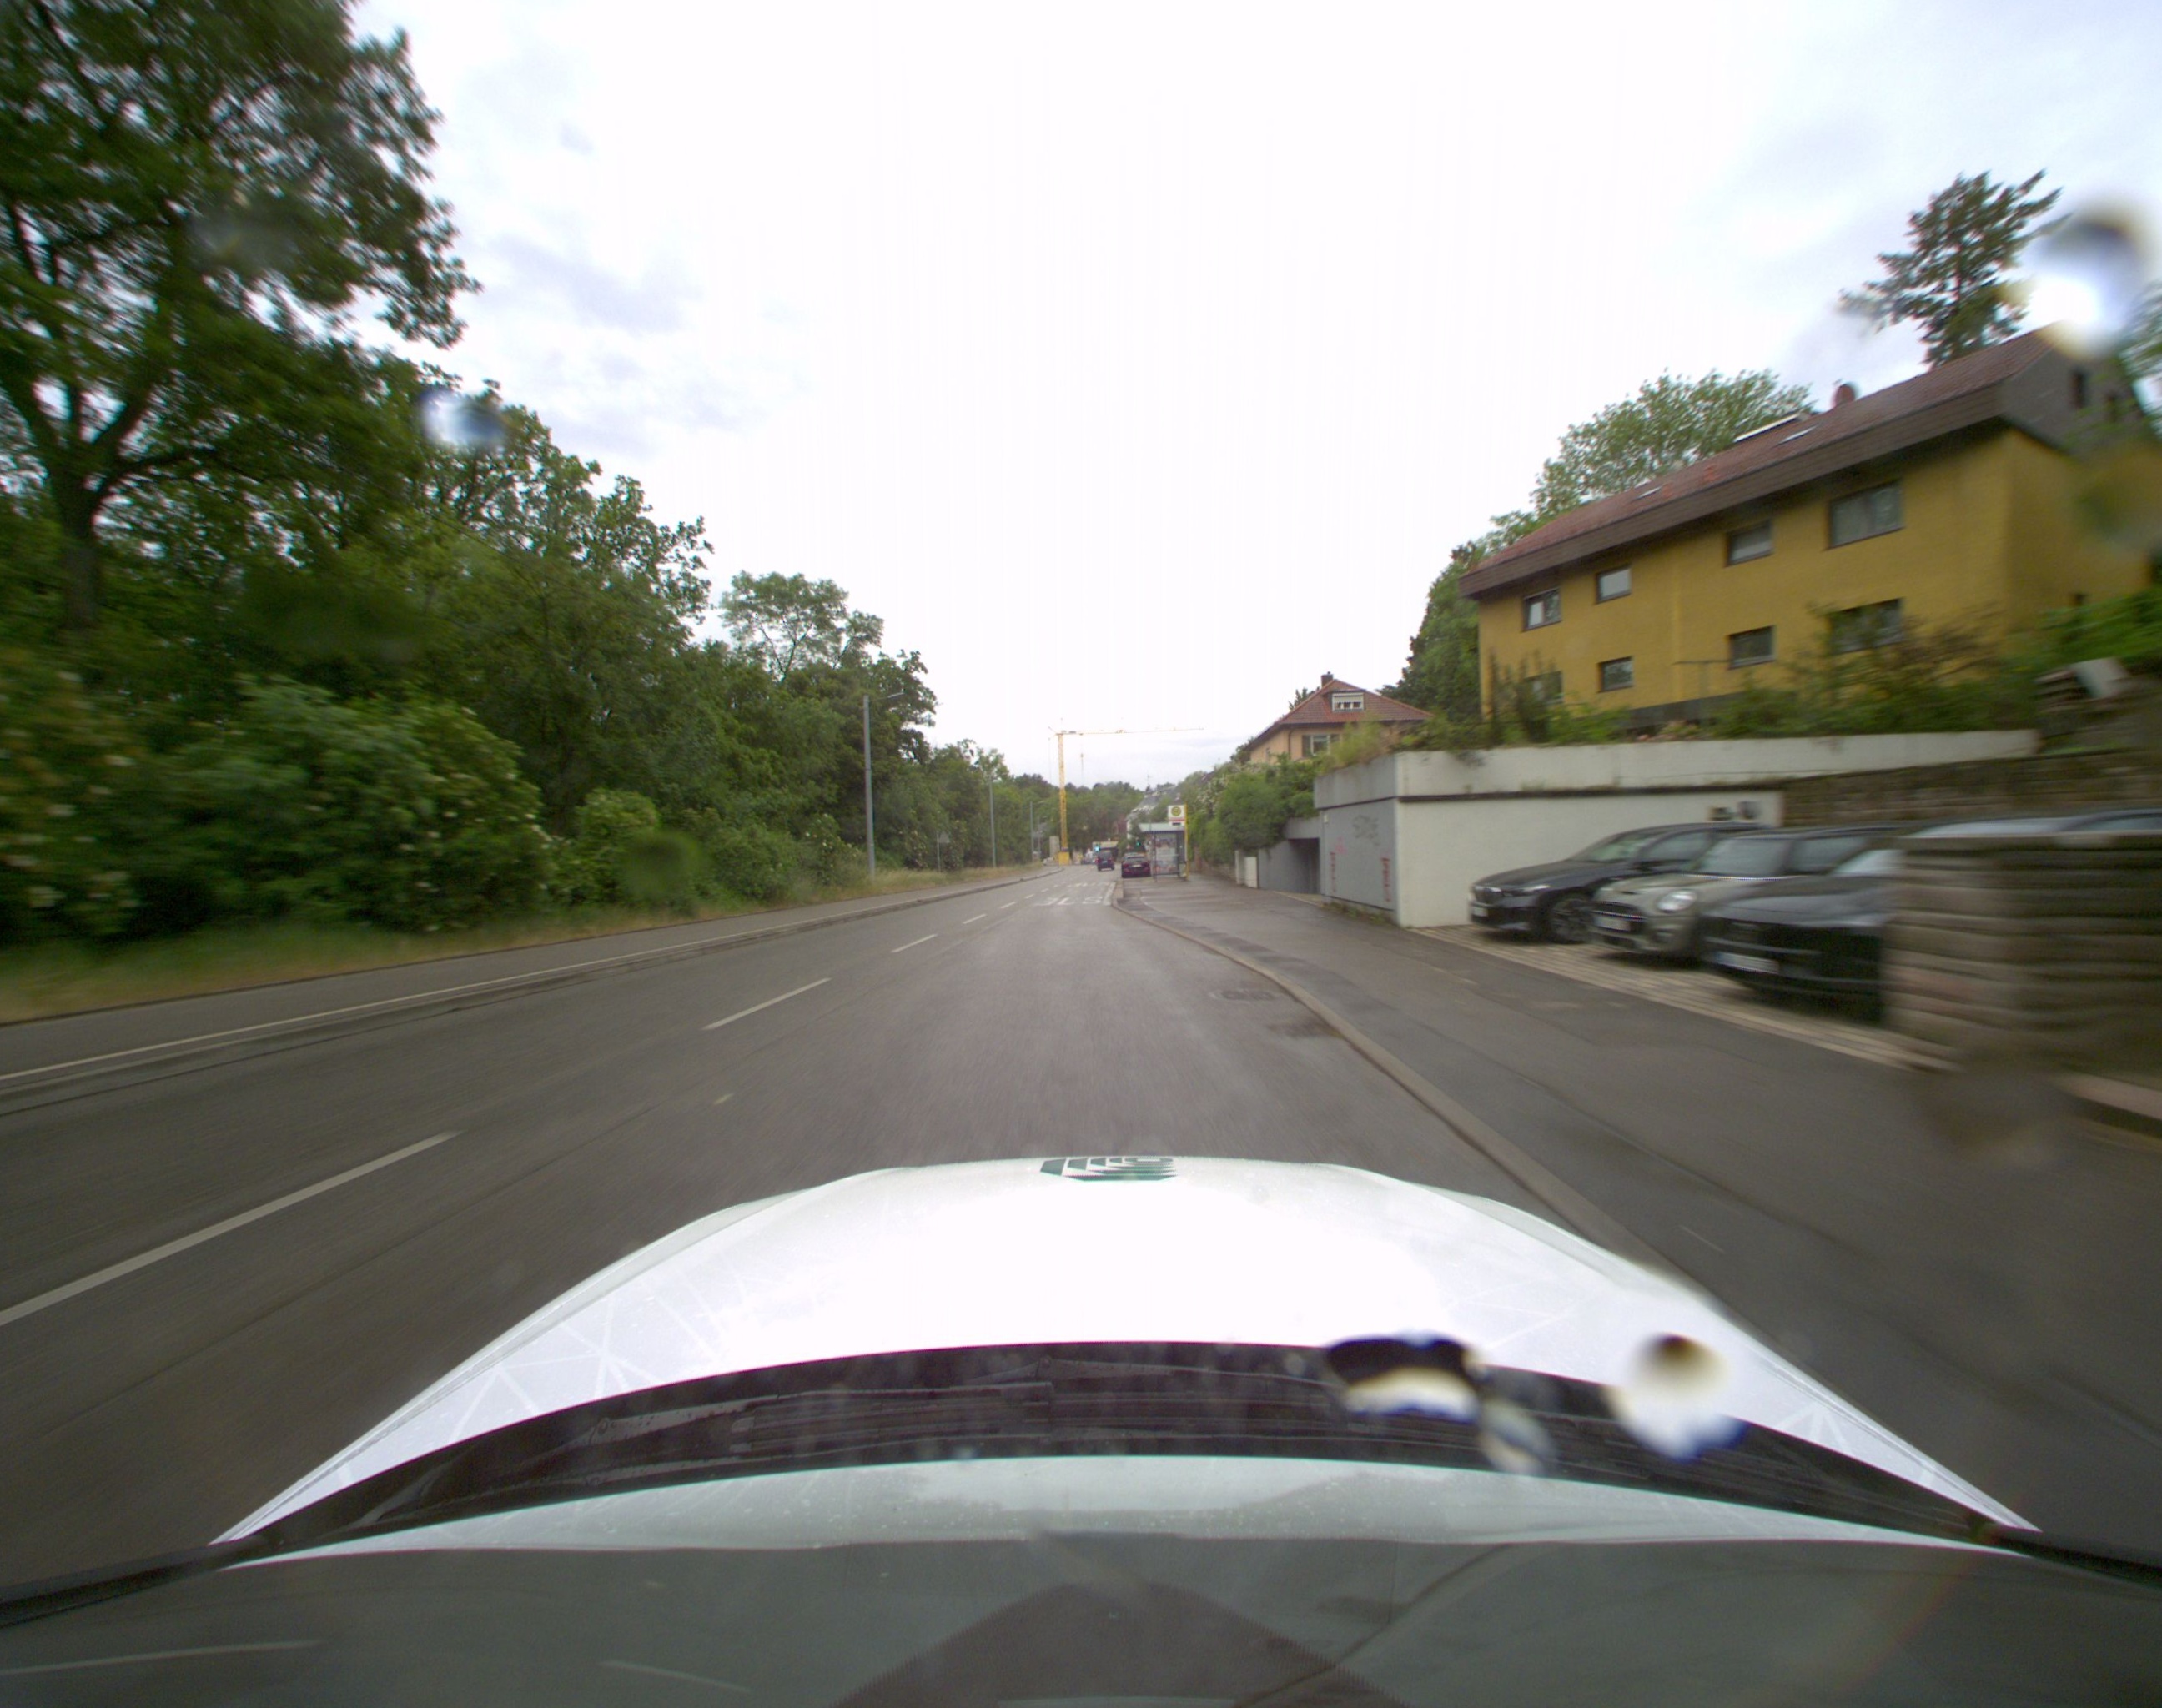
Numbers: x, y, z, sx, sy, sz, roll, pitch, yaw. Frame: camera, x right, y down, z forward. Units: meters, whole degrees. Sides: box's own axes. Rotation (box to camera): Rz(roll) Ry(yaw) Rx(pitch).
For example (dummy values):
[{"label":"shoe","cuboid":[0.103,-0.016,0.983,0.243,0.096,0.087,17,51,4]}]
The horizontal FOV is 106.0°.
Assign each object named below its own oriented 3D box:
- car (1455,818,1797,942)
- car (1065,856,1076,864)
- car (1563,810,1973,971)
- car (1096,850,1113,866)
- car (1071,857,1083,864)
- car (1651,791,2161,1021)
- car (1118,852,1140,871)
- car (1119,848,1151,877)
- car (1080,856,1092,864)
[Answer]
[{"label":"car","cuboid":[7.565,0.343,11.572,3.755,1.552,1.610,-1,0,1]},{"label":"car","cuboid":[-2.159,1.301,170.499,1.740,1.552,3.842,-1,0,-11]},{"label":"car","cuboid":[7.623,0.370,9.281,3.272,1.480,1.577,-4,1,2]},{"label":"car","cuboid":[2.477,0.429,84.991,1.660,1.594,3.686,-1,0,3]},{"label":"car","cuboid":[-0.786,1.328,164.941,1.740,1.552,3.842,0,0,-11]},{"label":"car","cuboid":[7.243,0.374,6.816,3.716,1.629,1.701,-1,0,1]},{"label":"car","cuboid":[4.552,0.701,77.048,1.985,1.772,4.118,0,0,3]},{"label":"car","cuboid":[3.564,0.535,53.490,1.985,1.772,4.118,-1,0,3]},{"label":"car","cuboid":[0.978,1.196,158.843,1.740,1.552,3.842,-1,0,-11]}]
